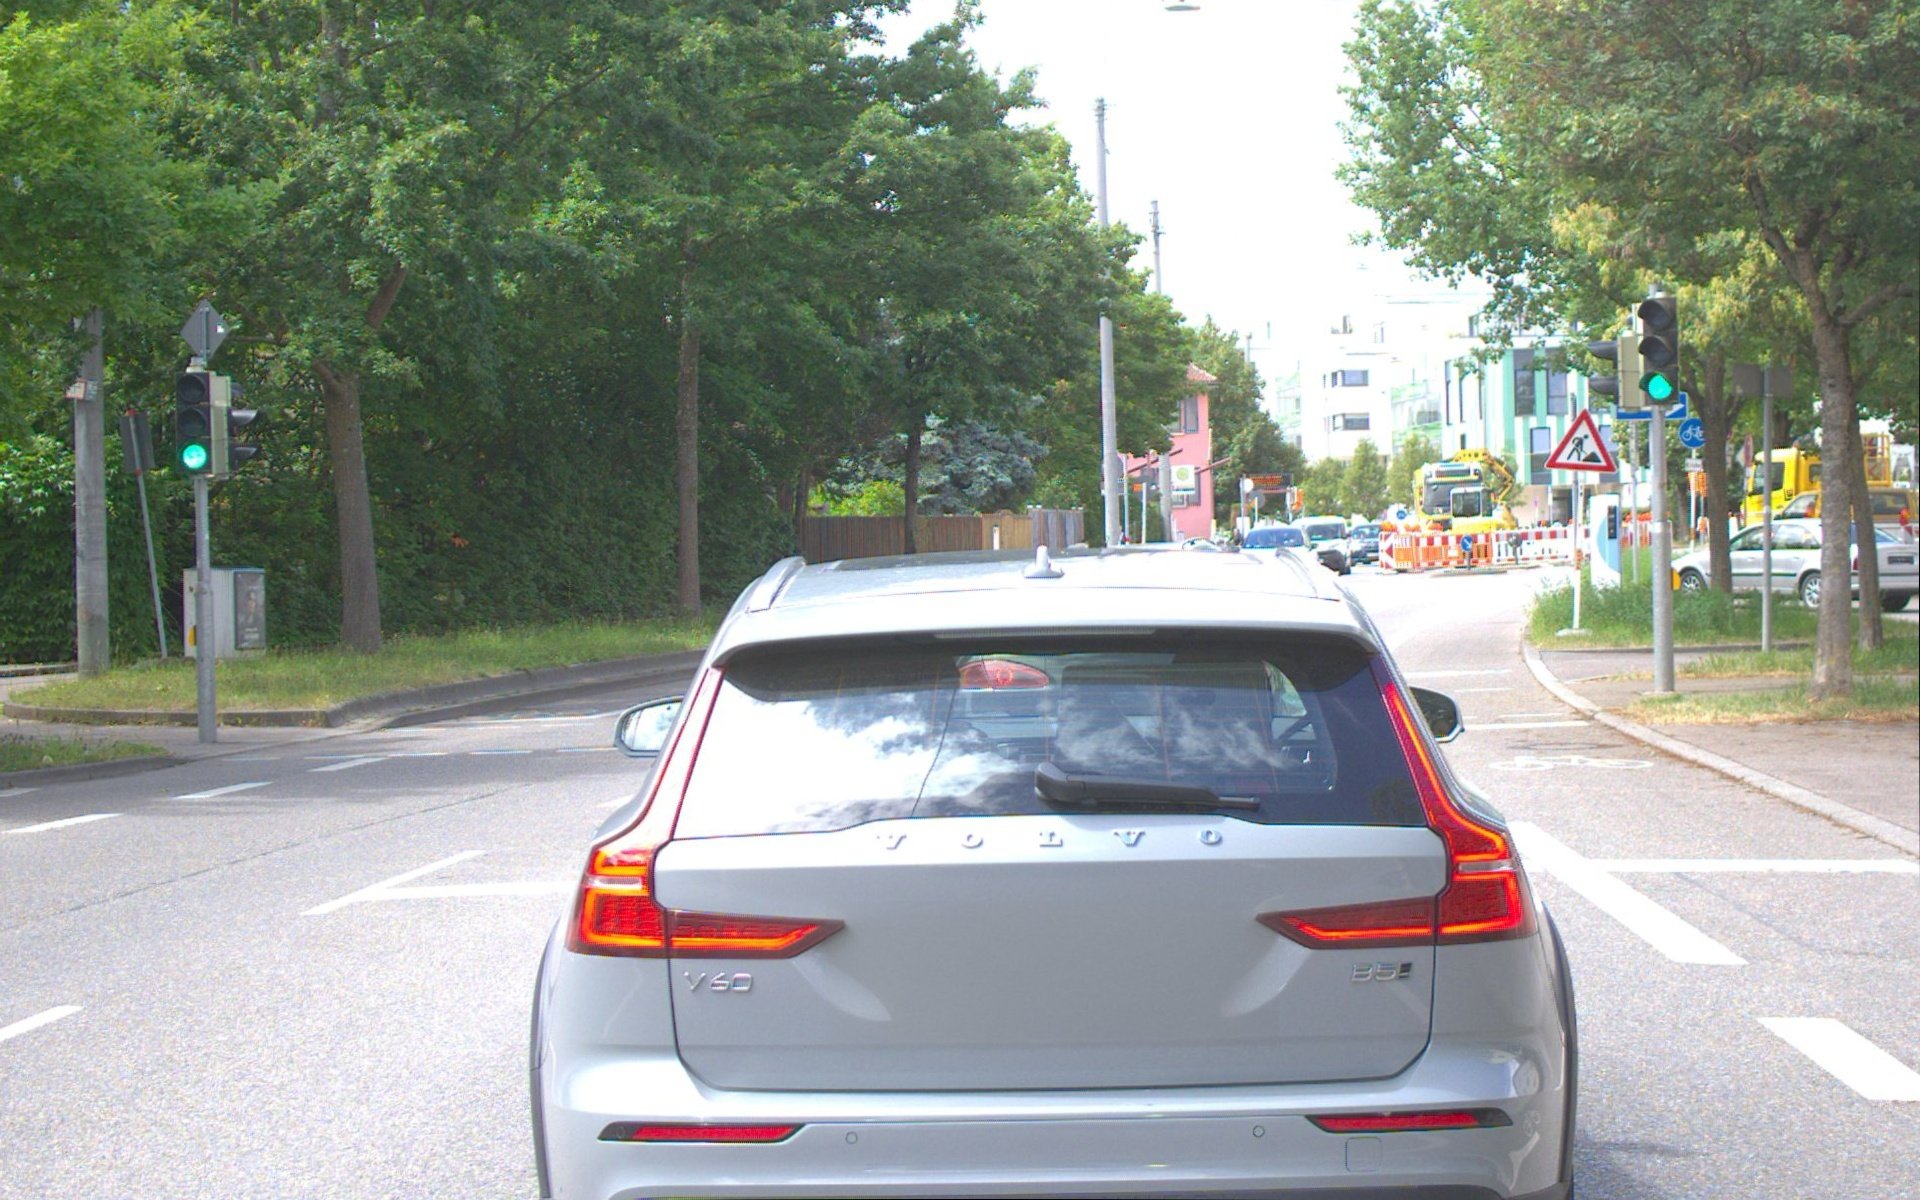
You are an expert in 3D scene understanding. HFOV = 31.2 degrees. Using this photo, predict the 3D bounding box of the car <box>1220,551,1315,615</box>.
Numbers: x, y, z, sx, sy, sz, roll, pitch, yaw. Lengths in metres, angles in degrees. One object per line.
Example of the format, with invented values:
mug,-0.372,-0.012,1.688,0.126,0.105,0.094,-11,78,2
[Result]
car,6.897,-0.360,76.782,1.829,1.325,3.998,1,-1,9

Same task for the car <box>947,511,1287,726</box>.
car,1.311,0.121,26.797,2.103,1.505,3.998,1,0,10

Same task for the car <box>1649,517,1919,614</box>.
car,13.150,-0.563,54.187,1.762,1.447,4.689,-1,2,-32

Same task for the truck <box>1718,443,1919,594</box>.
truck,19.069,-1.638,70.624,2.761,2.998,6.706,1,0,-34

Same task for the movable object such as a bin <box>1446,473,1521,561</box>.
movable object such as a bin,16.633,-2.643,109.127,2.035,2.634,5.937,-2,1,11

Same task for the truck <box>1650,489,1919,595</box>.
truck,16.661,-1.156,68.736,1.994,2.007,5.676,1,0,-38

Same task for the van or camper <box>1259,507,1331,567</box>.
van or camper,10.332,-1.949,105.758,1.861,1.770,4.379,-1,1,10

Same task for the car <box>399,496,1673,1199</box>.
car,0.141,0.568,7.259,1.928,1.535,4.000,-1,2,1

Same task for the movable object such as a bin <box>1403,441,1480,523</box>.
movable object such as a bin,18.525,-4.512,132.519,2.310,2.980,6.426,-2,1,3

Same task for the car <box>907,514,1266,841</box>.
car,0.670,0.354,18.106,1.661,1.503,3.702,1,0,2

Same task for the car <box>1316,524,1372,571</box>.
car,14.689,-2.004,131.655,1.994,1.731,3.999,1,0,5
